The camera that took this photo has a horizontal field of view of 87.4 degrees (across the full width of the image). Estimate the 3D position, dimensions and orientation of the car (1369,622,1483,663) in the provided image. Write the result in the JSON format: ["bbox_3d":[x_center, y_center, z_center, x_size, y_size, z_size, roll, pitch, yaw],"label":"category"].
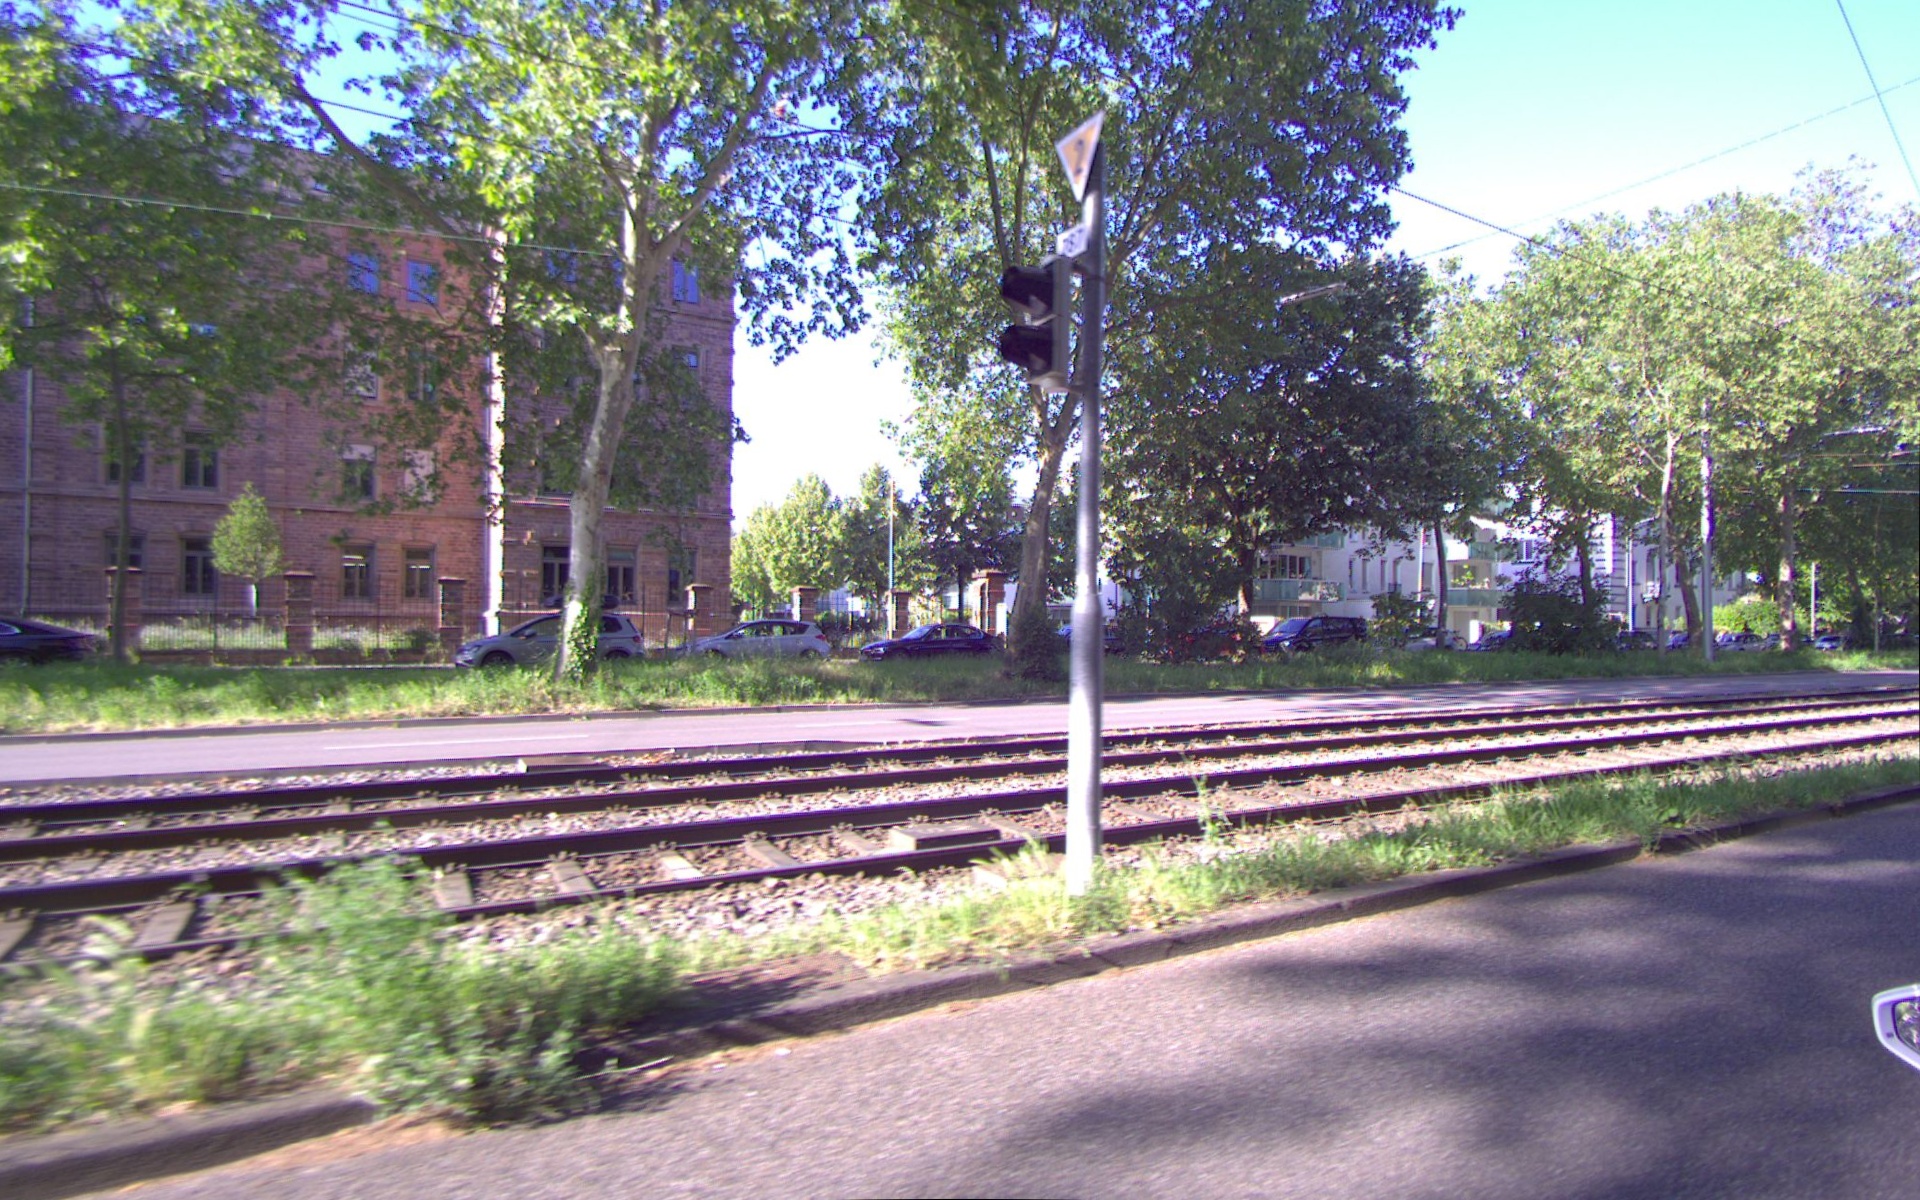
[{"bbox_3d":[19.644,1.807,42.262,5.035,1.619,2.016,2,-4,-34],"label":"car"}]

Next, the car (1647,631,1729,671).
[{"bbox_3d":[38.860,2.710,53.606,4.051,2.040,1.985,1,-1,-29],"label":"car"}]

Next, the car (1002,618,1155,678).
[{"bbox_3d":[3.865,1.506,32.510,4.686,1.833,2.097,1,-1,-33],"label":"car"}]

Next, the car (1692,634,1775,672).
[{"bbox_3d":[43.542,2.923,56.512,4.625,2.040,1.986,1,-1,-28],"label":"car"}]

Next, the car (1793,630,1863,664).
[{"bbox_3d":[54.616,2.929,63.196,4.628,2.040,1.984,1,-1,-30],"label":"car"}]

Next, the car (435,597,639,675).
[{"bbox_3d":[-10.115,0.854,24.152,4.362,1.742,1.762,1,-1,-27],"label":"car"}]

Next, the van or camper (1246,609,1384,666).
[{"bbox_3d":[13.649,1.440,38.593,5.157,2.040,2.255,2,-1,-31],"label":"van or camper"}]

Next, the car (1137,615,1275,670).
[{"bbox_3d":[8.729,1.477,35.547,4.685,1.833,2.098,1,-1,-32],"label":"car"}]

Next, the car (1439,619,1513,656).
[{"bbox_3d":[30.061,2.180,58.506,3.952,2.040,1.985,1,-2,-30],"label":"car"}]

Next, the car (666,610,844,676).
[{"bbox_3d":[-5.497,1.130,27.006,4.362,1.637,1.987,1,-1,-27],"label":"car"}]

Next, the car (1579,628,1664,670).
[{"bbox_3d":[33.163,2.428,50.315,4.045,2.040,1.984,1,-1,-30],"label":"car"}]

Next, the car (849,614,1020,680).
[{"bbox_3d":[-0.727,1.349,29.758,4.685,1.833,2.098,1,-1,-32],"label":"car"}]

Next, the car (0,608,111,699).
[{"bbox_3d":[-19.123,0.986,18.683,4.770,1.671,1.984,1,-1,-30],"label":"car"}]
